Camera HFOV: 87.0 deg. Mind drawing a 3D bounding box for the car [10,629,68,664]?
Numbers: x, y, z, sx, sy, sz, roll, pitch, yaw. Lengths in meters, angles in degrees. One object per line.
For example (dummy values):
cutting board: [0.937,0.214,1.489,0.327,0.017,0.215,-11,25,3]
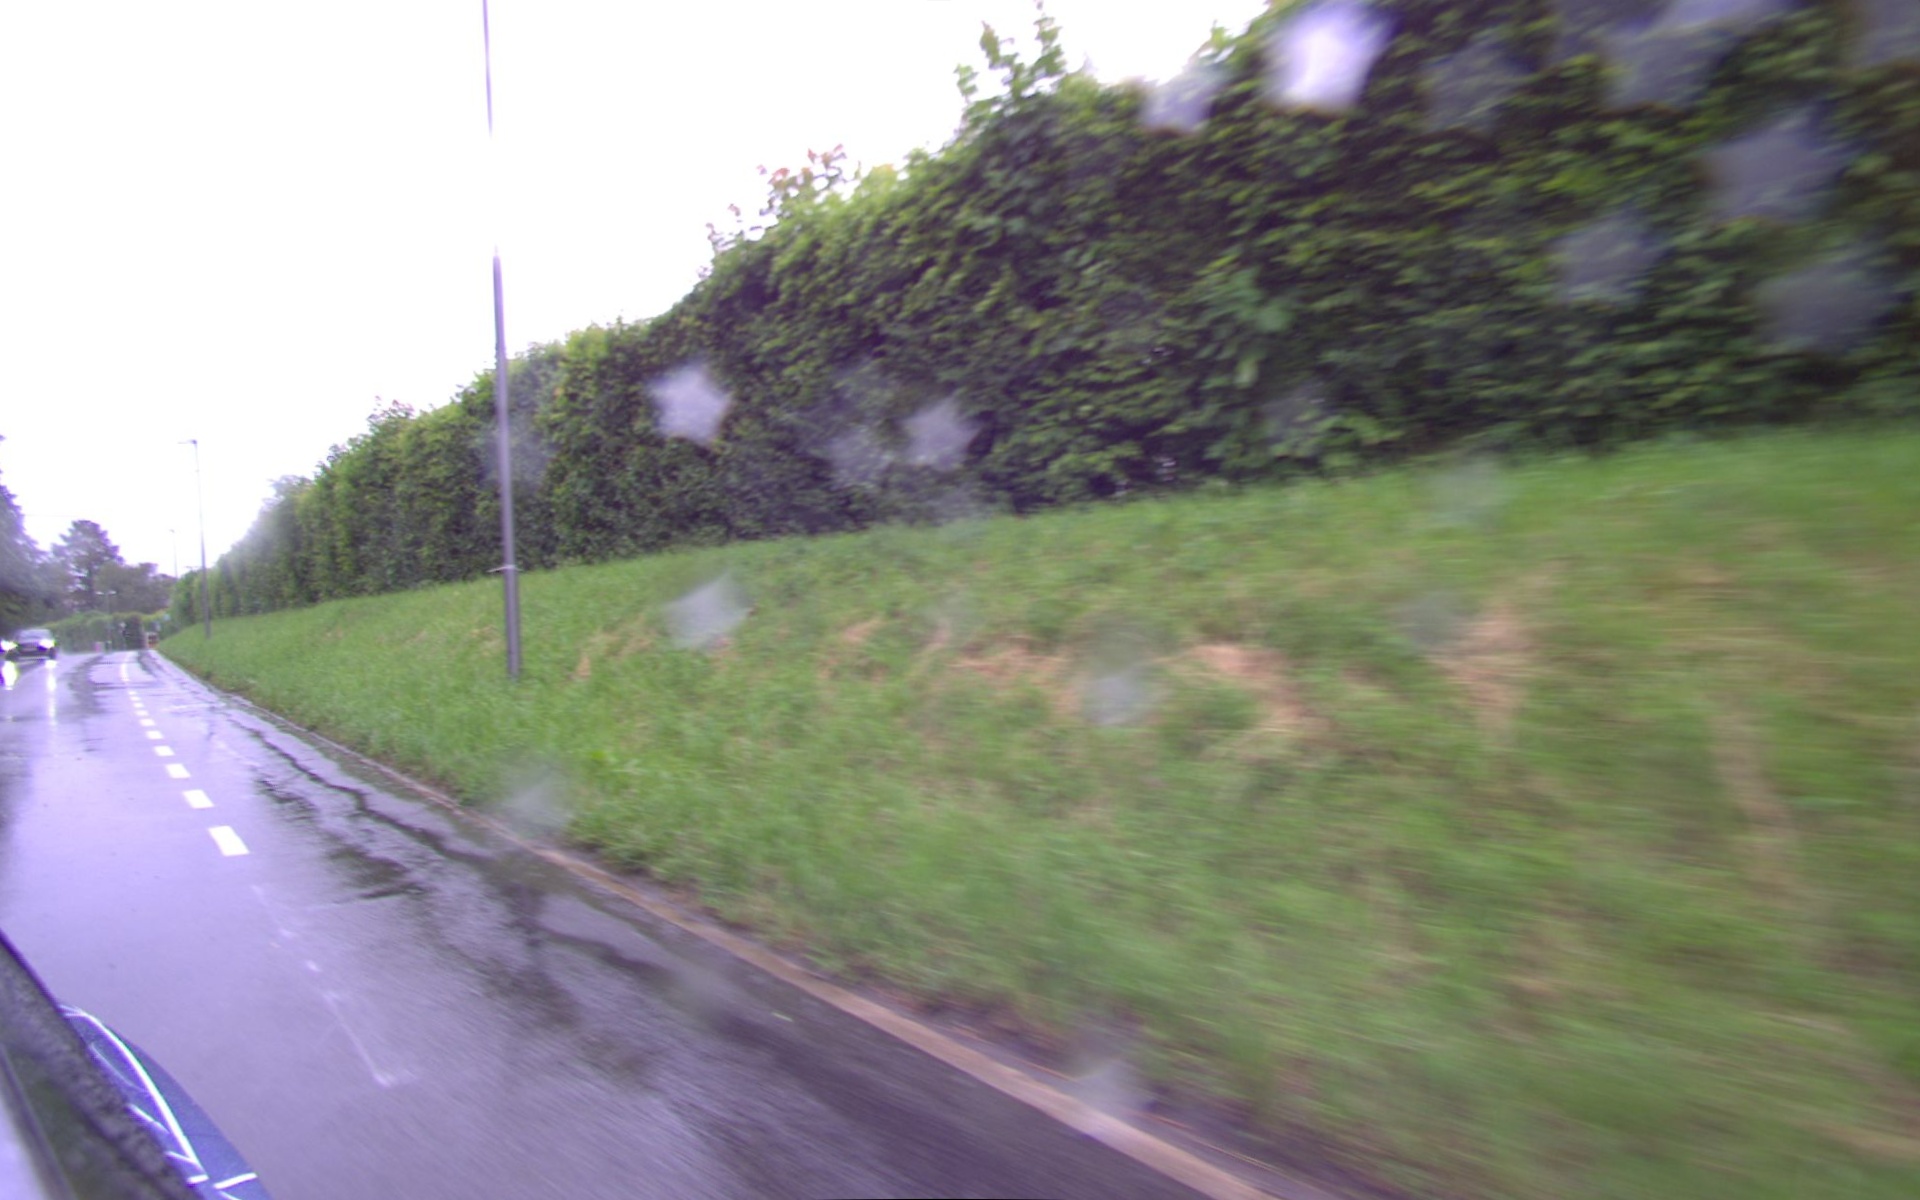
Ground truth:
car: [-43.448,2.158,47.807,1.772,1.564,4.007,1,-2,-39]
